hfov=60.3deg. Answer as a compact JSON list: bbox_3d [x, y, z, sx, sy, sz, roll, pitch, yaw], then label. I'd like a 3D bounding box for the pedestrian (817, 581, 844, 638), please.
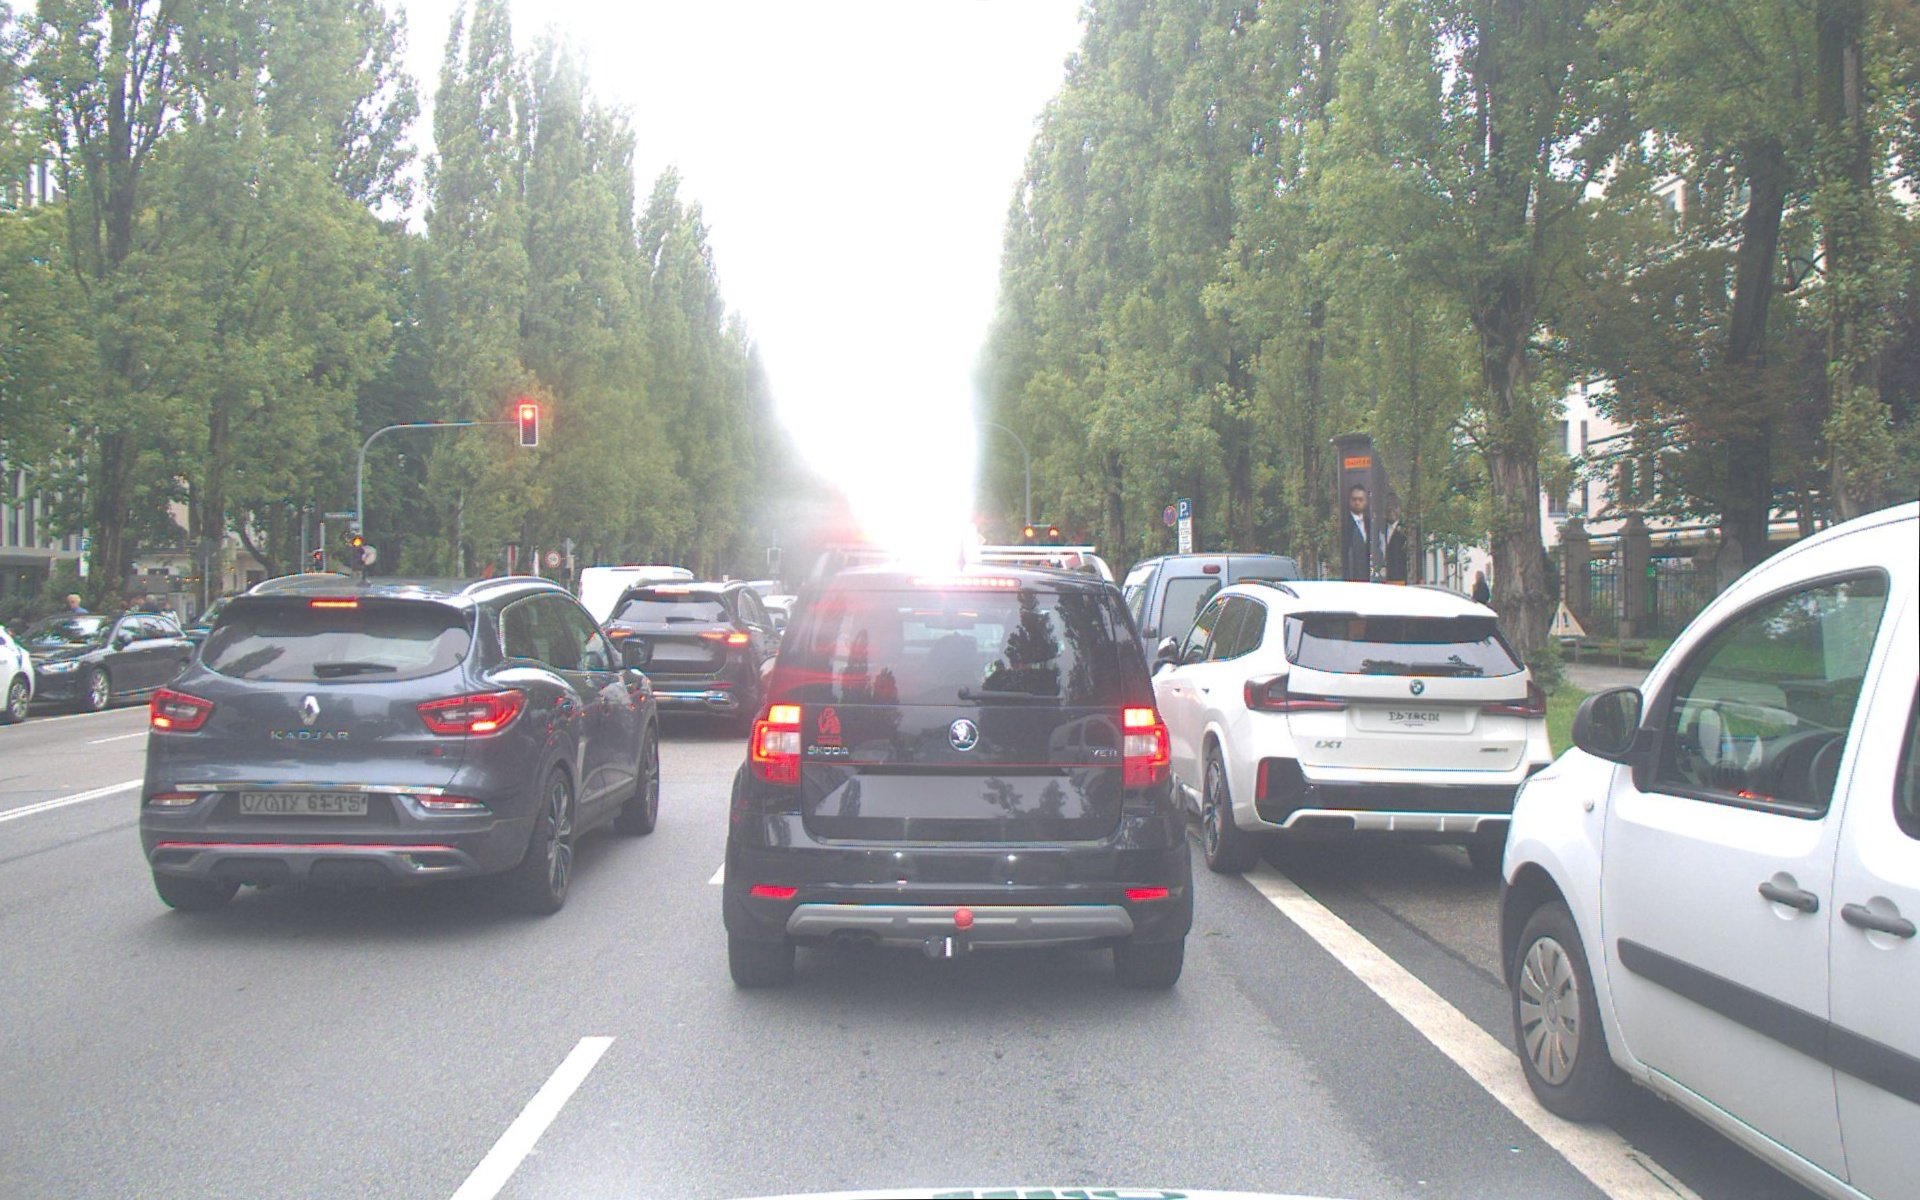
[{"bbox_3d":[-4.778,0.345,61.177,0.867,2.049,1.013,-1,0,1],"label":"pedestrian"}]

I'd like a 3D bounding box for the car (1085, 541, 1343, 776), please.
[{"bbox_3d":[2.255,0.461,15.682,1.700,1.928,4.023,-1,0,-2],"label":"car"}]

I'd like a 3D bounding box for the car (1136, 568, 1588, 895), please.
[{"bbox_3d":[2.246,0.638,10.407,1.706,1.620,4.210,-1,1,-2],"label":"car"}]

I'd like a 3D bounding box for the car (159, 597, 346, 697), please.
[{"bbox_3d":[-13.538,0.832,31.961,1.813,1.683,4.692,-3,0,-4],"label":"car"}]

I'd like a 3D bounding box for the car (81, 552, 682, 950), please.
[{"bbox_3d":[-2.735,0.617,8.920,1.798,1.613,4.184,1,0,-1],"label":"car"}]

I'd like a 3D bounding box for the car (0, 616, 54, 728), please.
[{"bbox_3d":[-13.095,0.977,20.518,1.591,1.413,4.163,-3,0,-4],"label":"car"}]

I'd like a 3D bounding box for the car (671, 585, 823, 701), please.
[{"bbox_3d":[-3.155,0.582,25.239,1.954,1.588,3.998,-1,1,-3],"label":"car"}]

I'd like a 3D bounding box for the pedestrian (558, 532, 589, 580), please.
[{"bbox_3d":[-14.675,-1.657,62.792,0.861,1.795,0.879,-1,0,8],"label":"pedestrian"}]

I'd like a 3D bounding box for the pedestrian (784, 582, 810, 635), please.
[{"bbox_3d":[-6.317,0.319,64.074,0.867,2.049,1.013,-1,0,1],"label":"pedestrian"}]

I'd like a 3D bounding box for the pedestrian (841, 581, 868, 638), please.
[{"bbox_3d":[-3.854,0.347,60.603,0.867,2.049,1.013,-1,0,1],"label":"pedestrian"}]

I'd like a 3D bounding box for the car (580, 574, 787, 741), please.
[{"bbox_3d":[-2.998,0.563,18.676,1.745,1.648,4.023,1,0,-2],"label":"car"}]

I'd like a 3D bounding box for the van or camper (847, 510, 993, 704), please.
[{"bbox_3d":[-0.651,0.070,24.322,1.936,2.593,4.022,-1,0,-3],"label":"van or camper"}]

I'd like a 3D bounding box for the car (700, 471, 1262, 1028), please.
[{"bbox_3d":[0.025,0.491,7.468,1.818,1.801,3.999,1,0,-2],"label":"car"}]

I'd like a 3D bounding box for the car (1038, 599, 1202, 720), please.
[{"bbox_3d":[2.023,0.716,21.751,1.700,1.411,3.561,-1,1,-2],"label":"car"}]

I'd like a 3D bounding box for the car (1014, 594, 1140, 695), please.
[{"bbox_3d":[1.850,0.670,27.049,1.700,1.501,3.561,-1,0,-2],"label":"car"}]

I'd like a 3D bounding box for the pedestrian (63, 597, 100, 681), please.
[{"bbox_3d":[-16.376,0.726,30.829,0.455,1.555,0.395,-1,0,-1],"label":"pedestrian"}]

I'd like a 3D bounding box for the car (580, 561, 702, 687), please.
[{"bbox_3d":[-5.817,0.408,30.551,1.746,2.148,4.021,-1,0,-5],"label":"car"}]

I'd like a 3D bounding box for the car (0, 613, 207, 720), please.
[{"bbox_3d":[-13.384,0.980,25.764,1.591,1.413,4.163,-3,0,-4],"label":"car"}]

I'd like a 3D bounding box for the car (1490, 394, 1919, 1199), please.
[{"bbox_3d":[2.726,0.555,3.345,1.814,1.914,4.166,-1,0,-3],"label":"car"}]

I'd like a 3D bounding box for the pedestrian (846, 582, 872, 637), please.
[{"bbox_3d":[-3.796,0.352,62.341,0.867,2.049,1.013,-1,0,1],"label":"pedestrian"}]
